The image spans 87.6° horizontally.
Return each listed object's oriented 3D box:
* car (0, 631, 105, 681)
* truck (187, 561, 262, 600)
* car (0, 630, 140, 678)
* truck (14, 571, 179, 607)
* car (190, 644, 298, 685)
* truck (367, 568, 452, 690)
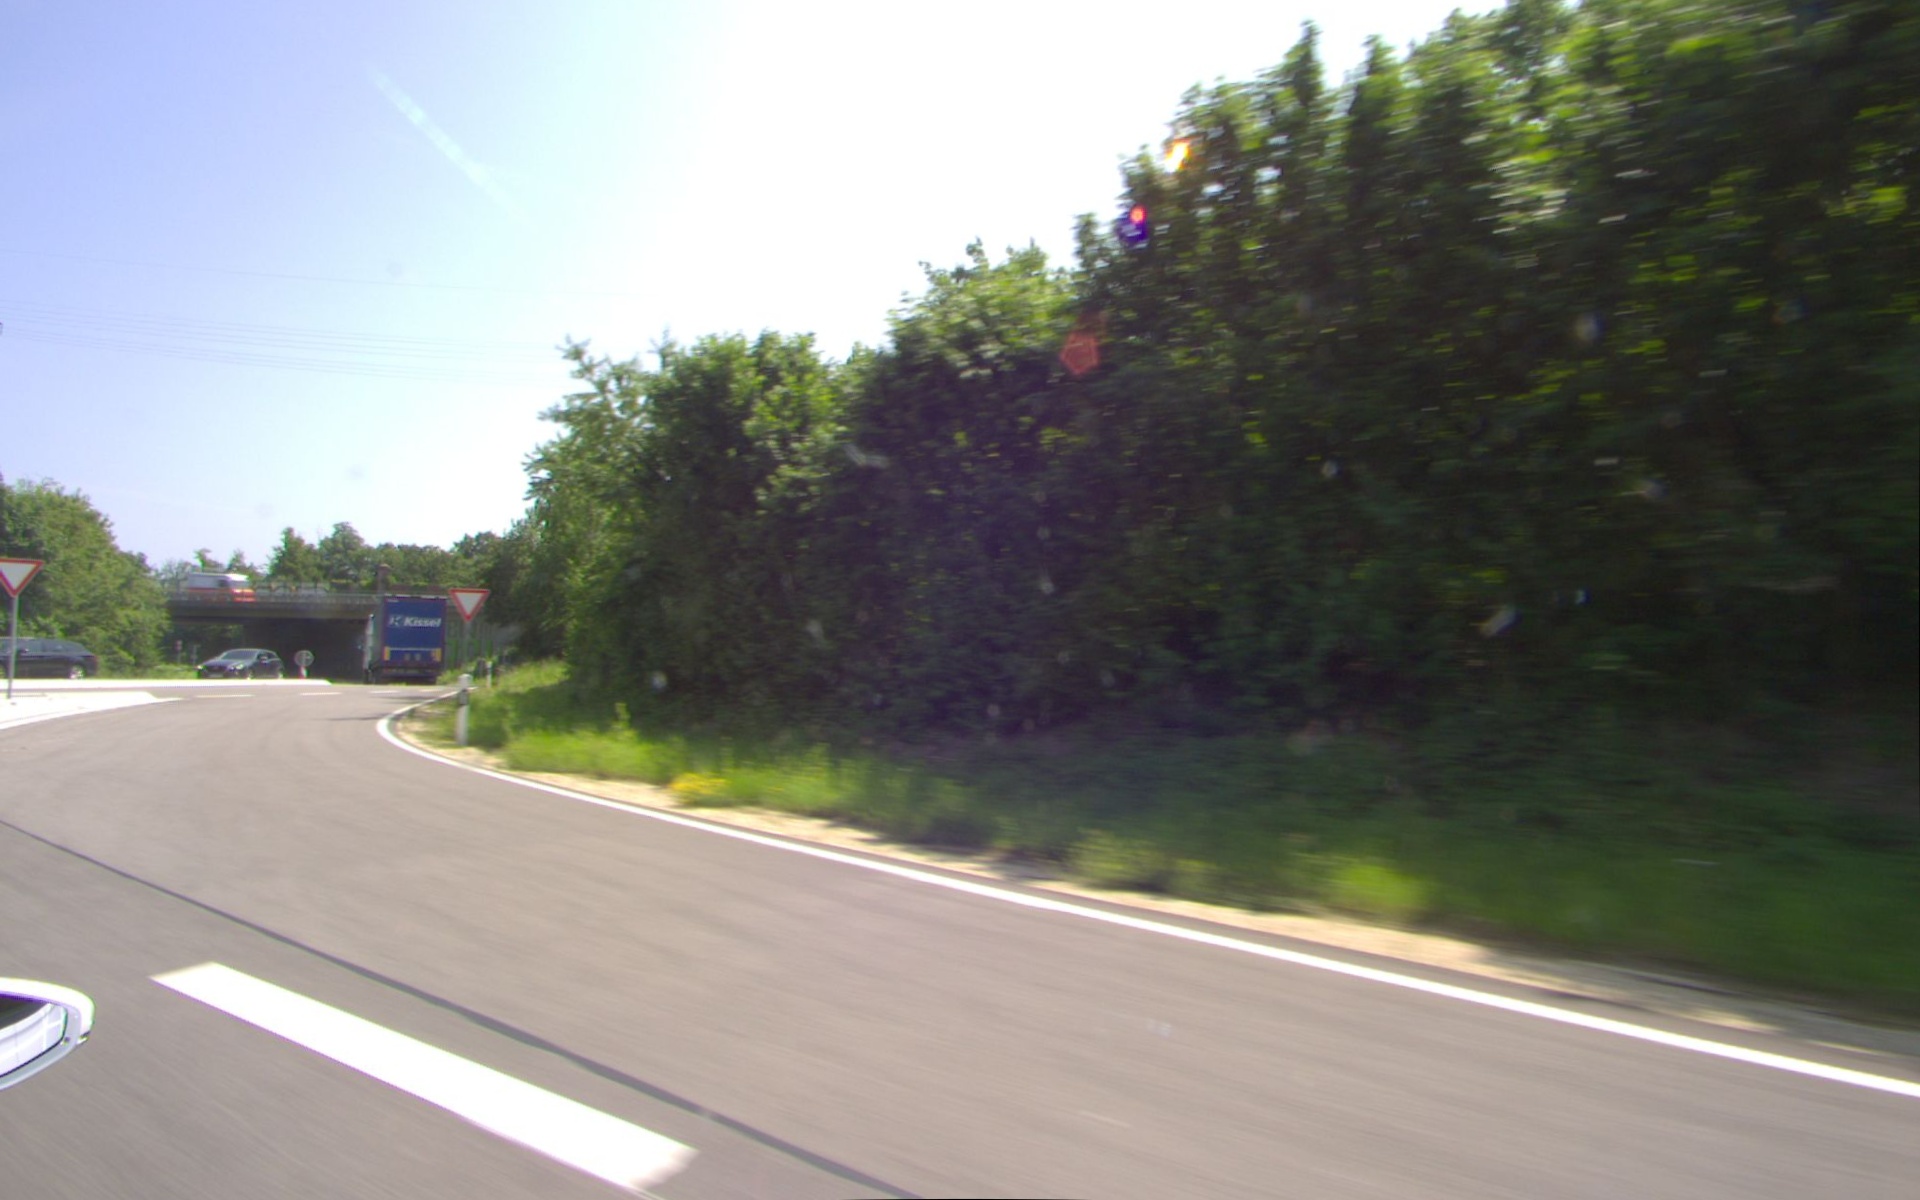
[{"bbox_3d":[-29.872,1.740,31.513,1.832,1.492,4.566,1,-2,3],"label":"car"},{"bbox_3d":[-64.658,-1.661,88.071,4.786,3.318,2.479,0,-1,3],"label":"truck"},{"bbox_3d":[-32.009,1.875,35.914,1.809,1.600,3.995,0,-1,3],"label":"car"},{"bbox_3d":[-101.316,-1.244,117.627,16.390,3.969,4.452,0,-1,5],"label":"truck"},{"bbox_3d":[-29.789,2.717,41.800,1.776,1.617,4.101,0,-4,-5],"label":"car"},{"bbox_3d":[-28.525,1.473,51.492,3.326,5.383,15.261,0,-1,-30],"label":"truck"}]
